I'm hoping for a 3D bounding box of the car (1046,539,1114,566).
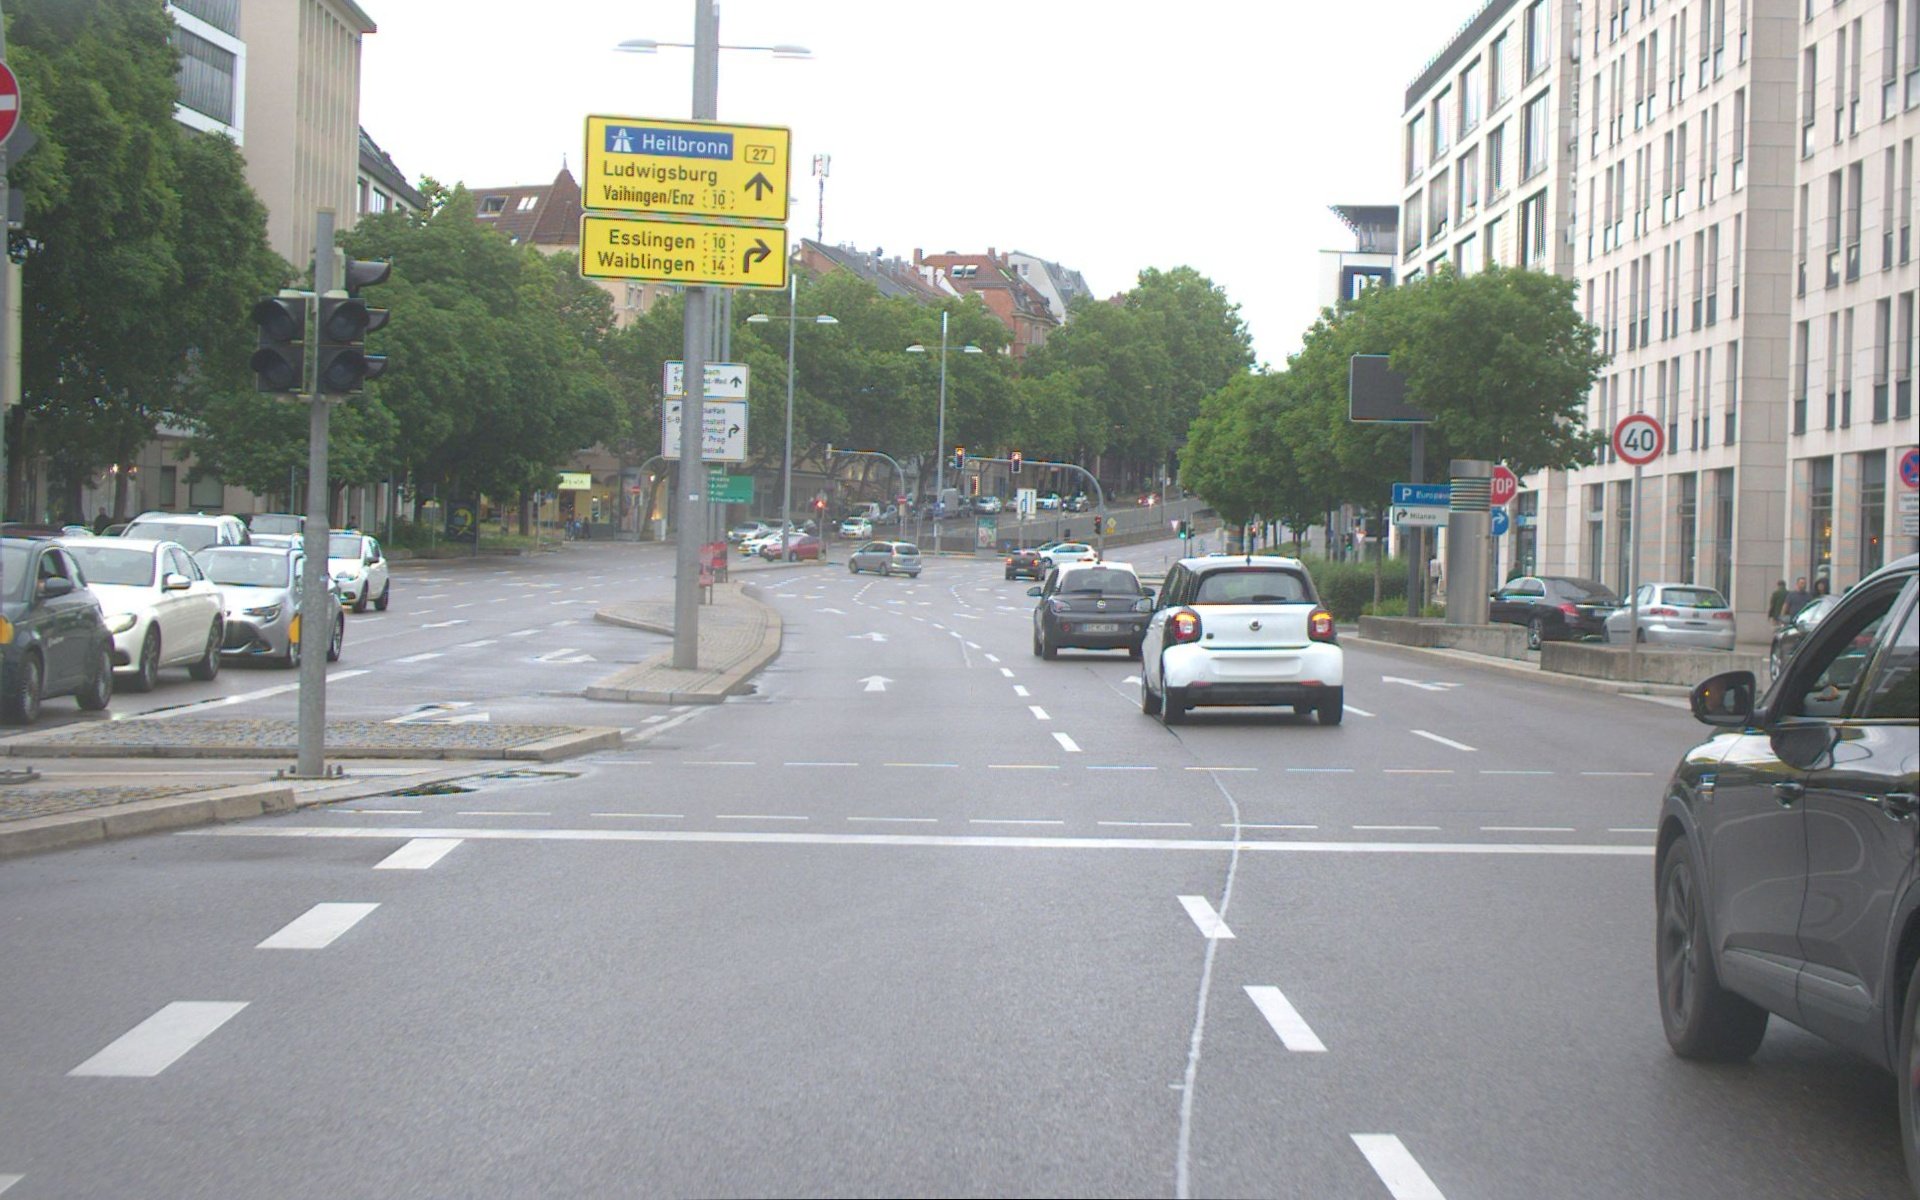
[{"bbox_3d":[6.958,-2.746,199.355,3.803,1.526,1.745,1,1,8],"label":"car"}]

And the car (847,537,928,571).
[{"bbox_3d":[-3.366,-2.154,159.618,1.740,1.526,3.813,0,1,-39],"label":"car"}]

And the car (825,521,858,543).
[{"bbox_3d":[-8.199,-4.701,237.845,1.740,1.526,3.813,1,1,6],"label":"car"}]

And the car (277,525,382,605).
[{"bbox_3d":[-14.183,-0.765,77.473,1.743,1.742,3.540,1,0,-1],"label":"car"}]

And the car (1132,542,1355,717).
[{"bbox_3d":[2.606,0.259,32.341,1.724,1.526,3.814,1,0,-1],"label":"car"}]

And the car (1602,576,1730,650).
[{"bbox_3d":[12.548,0.216,61.274,1.506,1.261,3.502,1,0,-1],"label":"car"}]

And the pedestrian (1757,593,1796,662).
[{"bbox_3d":[18.320,0.611,77.155,0.674,1.523,0.726,1,0,-1],"label":"pedestrian"}]

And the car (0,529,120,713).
[{"bbox_3d":[-8.290,0.150,28.681,1.743,1.439,3.395,1,0,-1],"label":"car"}]

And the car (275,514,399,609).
[{"bbox_3d":[-11.849,-0.715,65.594,1.743,1.742,3.540,1,0,-1],"label":"car"}]

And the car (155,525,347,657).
[{"bbox_3d":[-8.392,-0.107,40.940,1.538,1.472,3.696,1,0,-1],"label":"car"}]

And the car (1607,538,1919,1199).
[{"bbox_3d":[2.981,0.617,8.672,1.791,1.501,4.339,1,1,-1],"label":"car"}]

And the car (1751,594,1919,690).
[{"bbox_3d":[12.107,0.561,47.503,1.506,1.261,3.502,1,0,-1],"label":"car"}]

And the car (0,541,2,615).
[{"bbox_3d":[-23.558,-0.532,79.681,1.743,1.742,3.540,1,0,-1],"label":"car"}]

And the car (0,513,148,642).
[{"bbox_3d":[-11.563,-0.276,43.525,1.743,1.553,3.540,1,0,-1],"label":"car"}]

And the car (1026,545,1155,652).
[{"bbox_3d":[1.934,-0.023,52.008,1.740,1.526,3.814,1,0,-1],"label":"car"}]

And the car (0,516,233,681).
[{"bbox_3d":[-8.668,-0.021,34.891,1.702,1.553,4.245,1,0,-1],"label":"car"}]

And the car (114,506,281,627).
[{"bbox_3d":[-11.510,-0.498,52.089,1.743,1.742,3.540,1,0,-1],"label":"car"}]

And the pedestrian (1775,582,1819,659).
[{"bbox_3d":[16.664,0.400,68.472,0.674,1.523,0.726,1,0,-1],"label":"pedestrian"}]

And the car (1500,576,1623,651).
[{"bbox_3d":[11.656,0.256,66.816,1.661,1.396,3.832,1,0,-1],"label":"car"}]

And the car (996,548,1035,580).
[{"bbox_3d":[2.696,-1.738,167.751,1.740,1.526,3.814,1,0,-1],"label":"car"}]

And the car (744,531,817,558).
[{"bbox_3d":[-10.258,-3.185,196.815,3.801,1.526,1.746,0,1,-30],"label":"car"}]
